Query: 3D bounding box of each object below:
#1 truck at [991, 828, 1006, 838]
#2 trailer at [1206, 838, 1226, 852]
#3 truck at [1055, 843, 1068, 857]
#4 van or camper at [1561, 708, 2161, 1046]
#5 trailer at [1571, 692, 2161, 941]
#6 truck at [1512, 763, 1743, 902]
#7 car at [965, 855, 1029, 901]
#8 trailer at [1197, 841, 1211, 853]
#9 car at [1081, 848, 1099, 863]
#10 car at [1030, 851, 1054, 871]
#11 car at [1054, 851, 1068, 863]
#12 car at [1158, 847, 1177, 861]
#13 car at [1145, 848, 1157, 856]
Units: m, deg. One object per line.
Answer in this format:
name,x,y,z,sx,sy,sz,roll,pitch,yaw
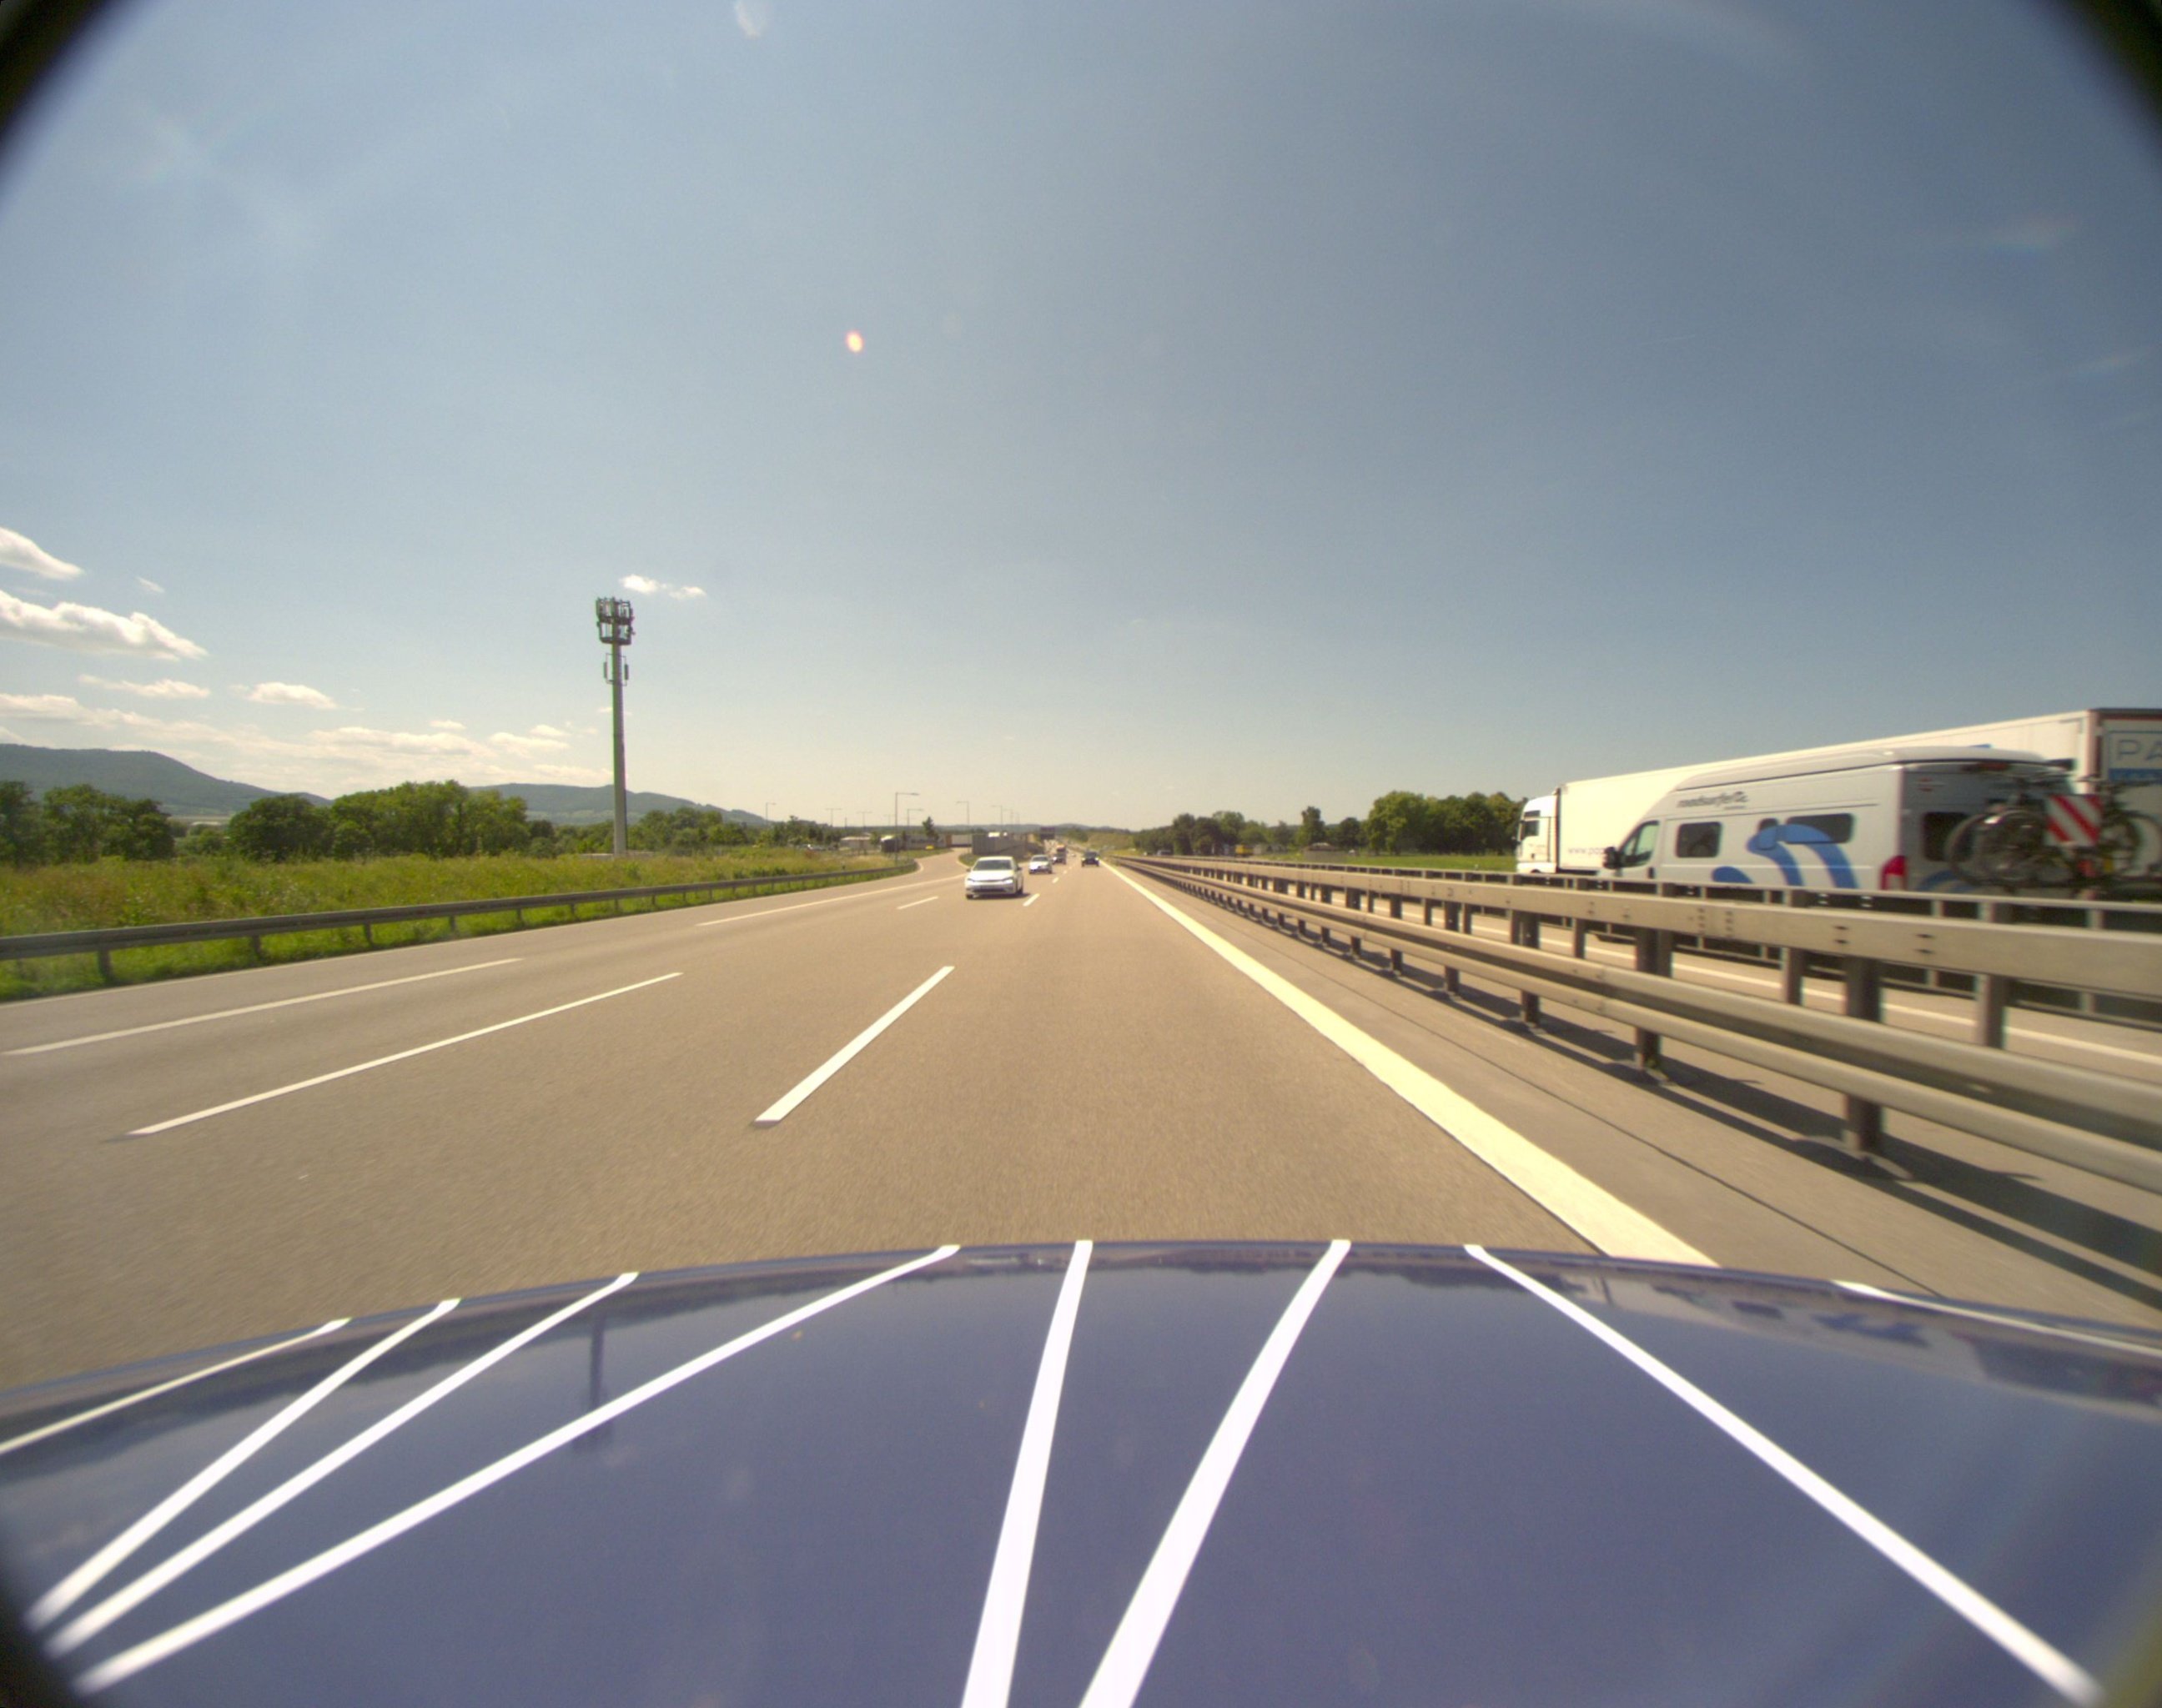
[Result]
truck,-19.951,-4.981,184.093,2.715,2.192,7.285,-2,1,-1
trailer,38.071,-2.557,214.821,2.775,3.757,14.408,-2,1,0
truck,-6.085,-1.333,235.321,3.368,4.037,11.732,-2,1,-4
van or camper,9.520,0.166,9.746,2.163,2.719,7.295,0,1,1
trailer,17.529,-0.716,18.448,2.965,3.895,12.892,-2,1,0
truck,17.575,-0.668,25.102,2.947,3.908,6.476,-2,1,0
car,-3.015,0.835,28.201,1.780,1.425,4.690,-2,1,0
trailer,38.184,-2.292,236.256,2.552,3.641,8.711,-2,1,-2
car,0.963,0.155,81.262,1.751,1.439,3.999,1,0,-1
car,-2.922,0.527,57.861,1.634,1.381,3.999,-2,1,-1
car,-2.709,0.366,101.839,1.751,1.559,3.999,-2,1,-1
car,10.621,-0.044,93.658,1.815,1.631,4.427,1,1,1
car,12.822,-0.303,139.756,1.824,1.436,4.000,1,1,1
